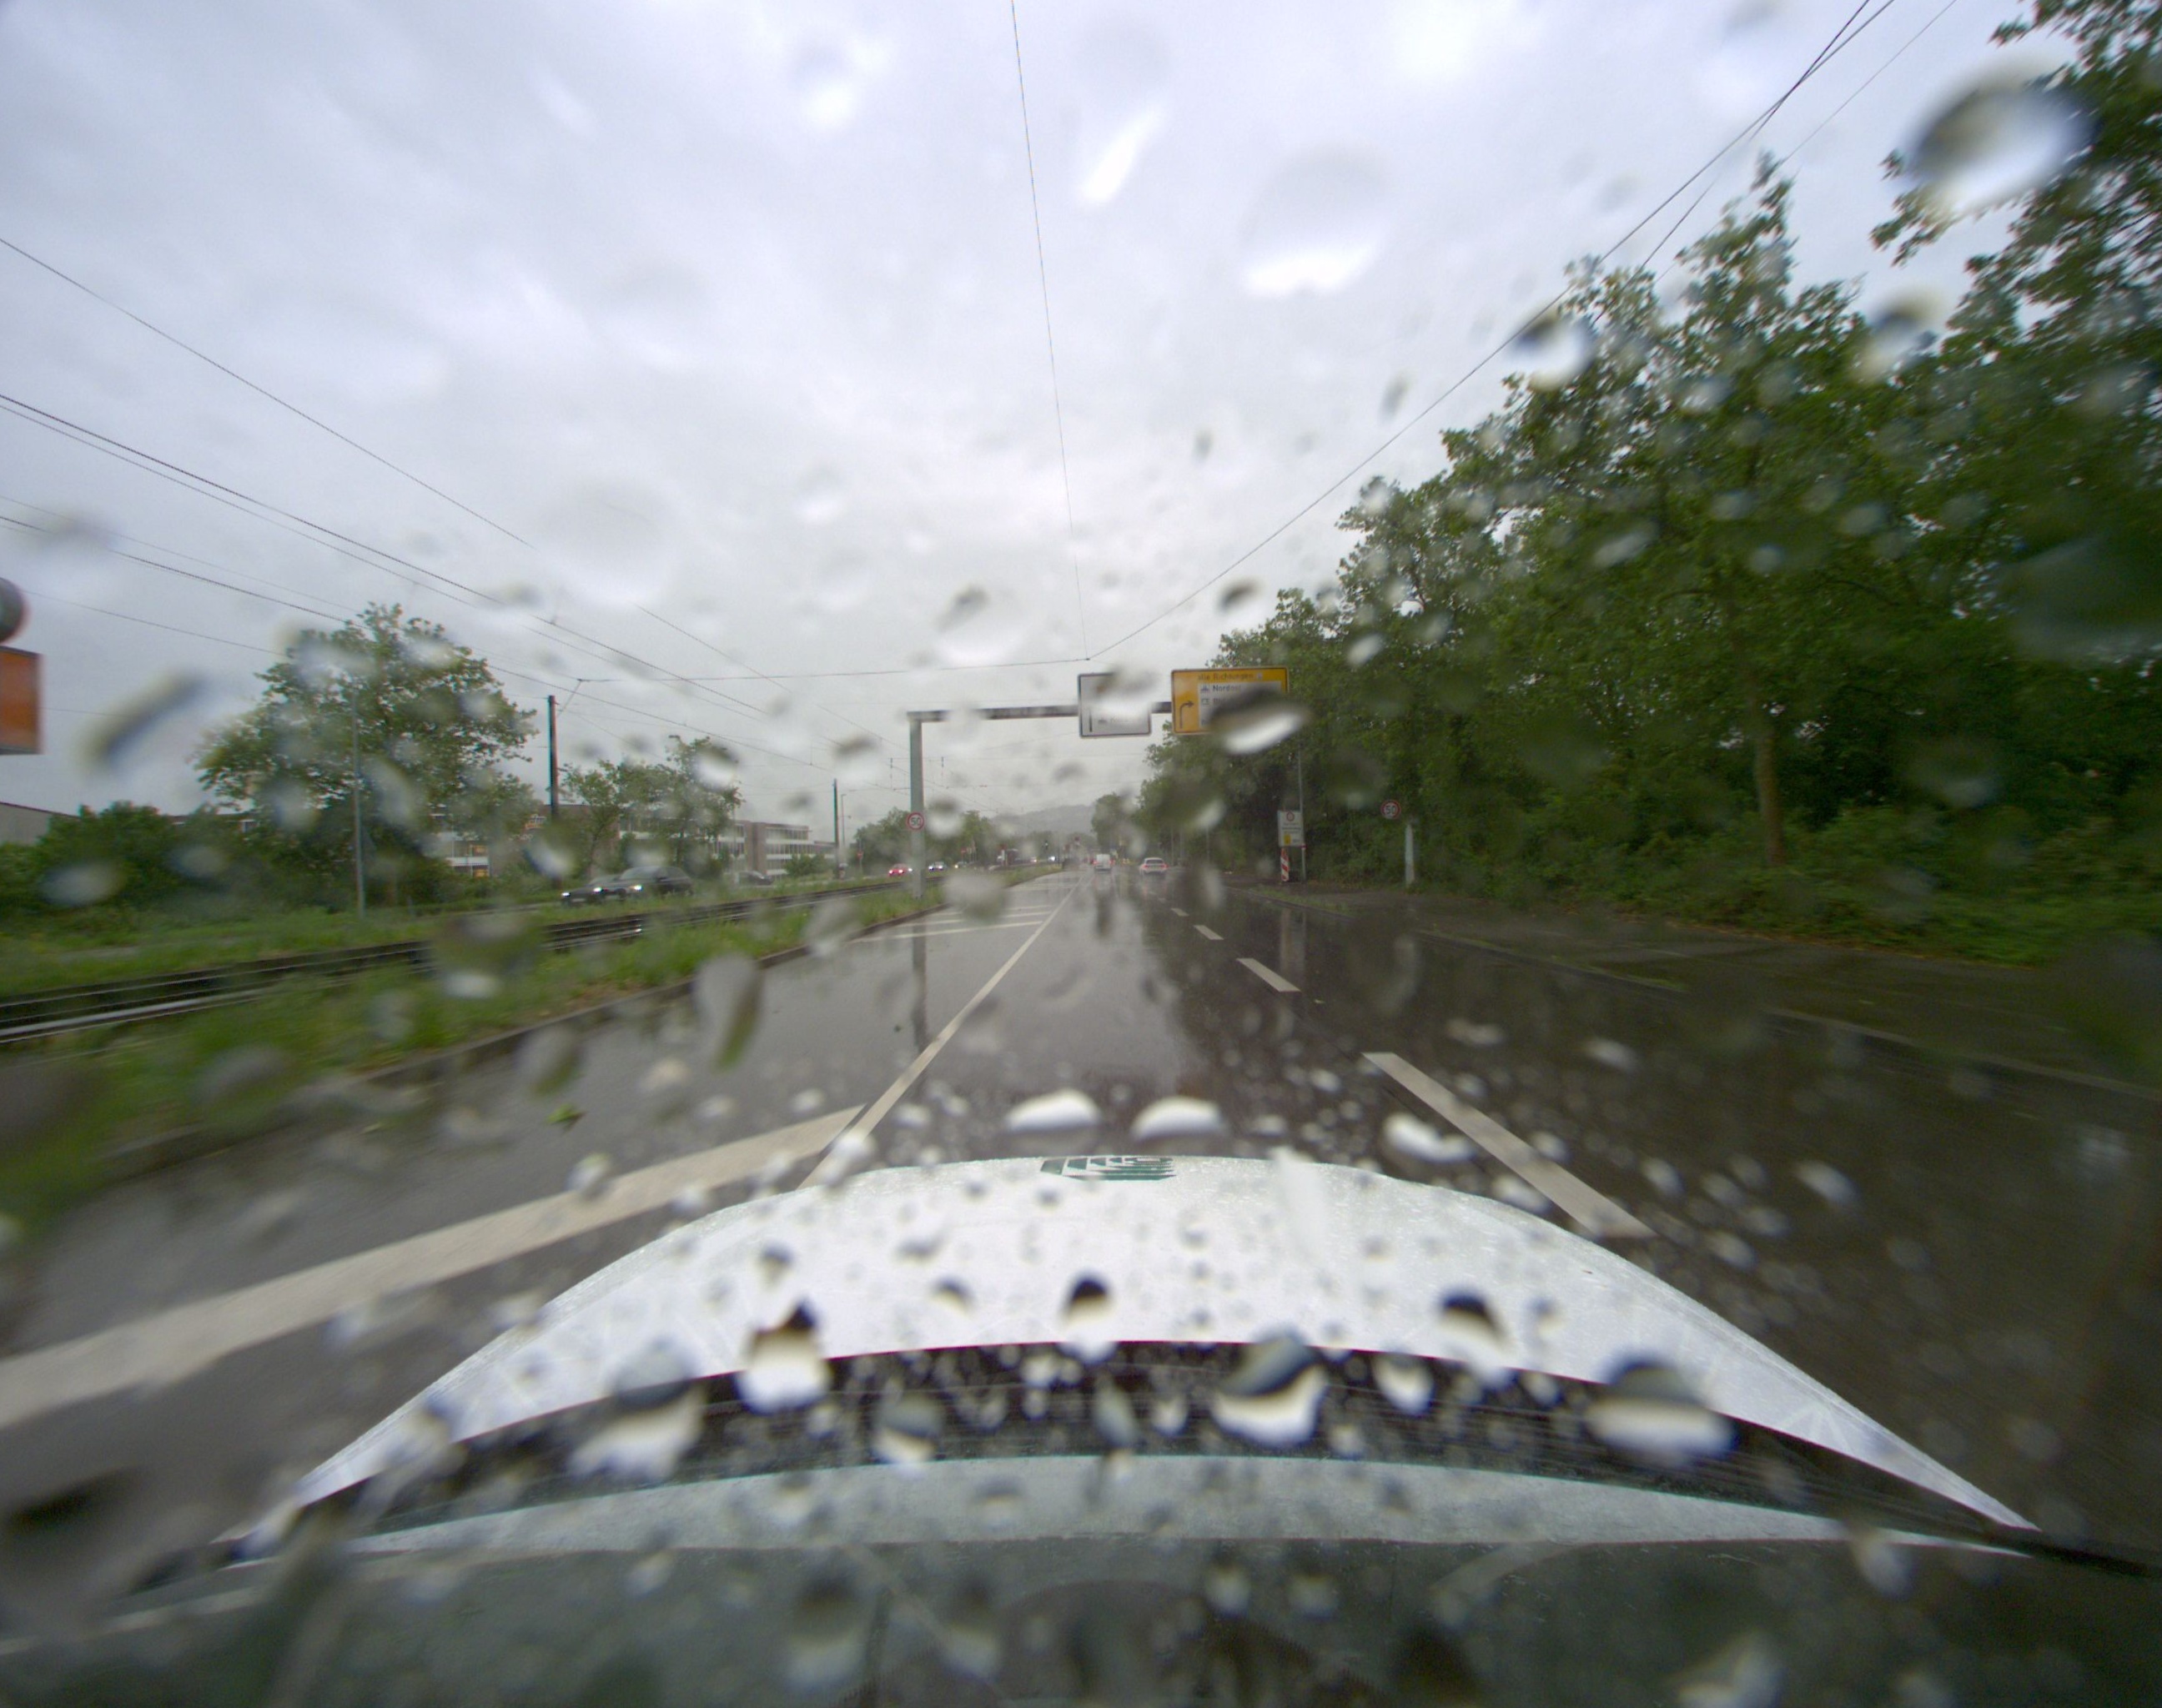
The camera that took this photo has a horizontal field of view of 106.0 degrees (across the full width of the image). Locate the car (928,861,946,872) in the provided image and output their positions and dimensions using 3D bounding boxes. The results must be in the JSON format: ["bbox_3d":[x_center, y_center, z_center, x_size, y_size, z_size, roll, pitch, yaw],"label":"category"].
[{"bbox_3d":[-19.210,1.638,108.739,1.714,1.494,4.000,-1,0,1],"label":"car"}]

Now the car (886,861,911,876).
[{"bbox_3d":[-19.484,1.522,87.176,1.714,1.494,4.000,-1,0,1],"label":"car"}]

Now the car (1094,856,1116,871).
[{"bbox_3d":[2.328,0.927,79.131,2.070,1.420,4.001,-1,0,1],"label":"car"}]

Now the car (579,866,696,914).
[{"bbox_3d":[-17.148,1.332,31.821,1.938,1.616,4.984,-2,0,-2],"label":"car"}]

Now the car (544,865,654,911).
[{"bbox_3d":[-20.393,1.380,34.740,1.938,1.686,4.777,-2,0,-2],"label":"car"}]

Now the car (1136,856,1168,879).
[{"bbox_3d":[5.080,0.971,58.655,1.942,1.536,4.466,-1,0,0],"label":"car"}]
